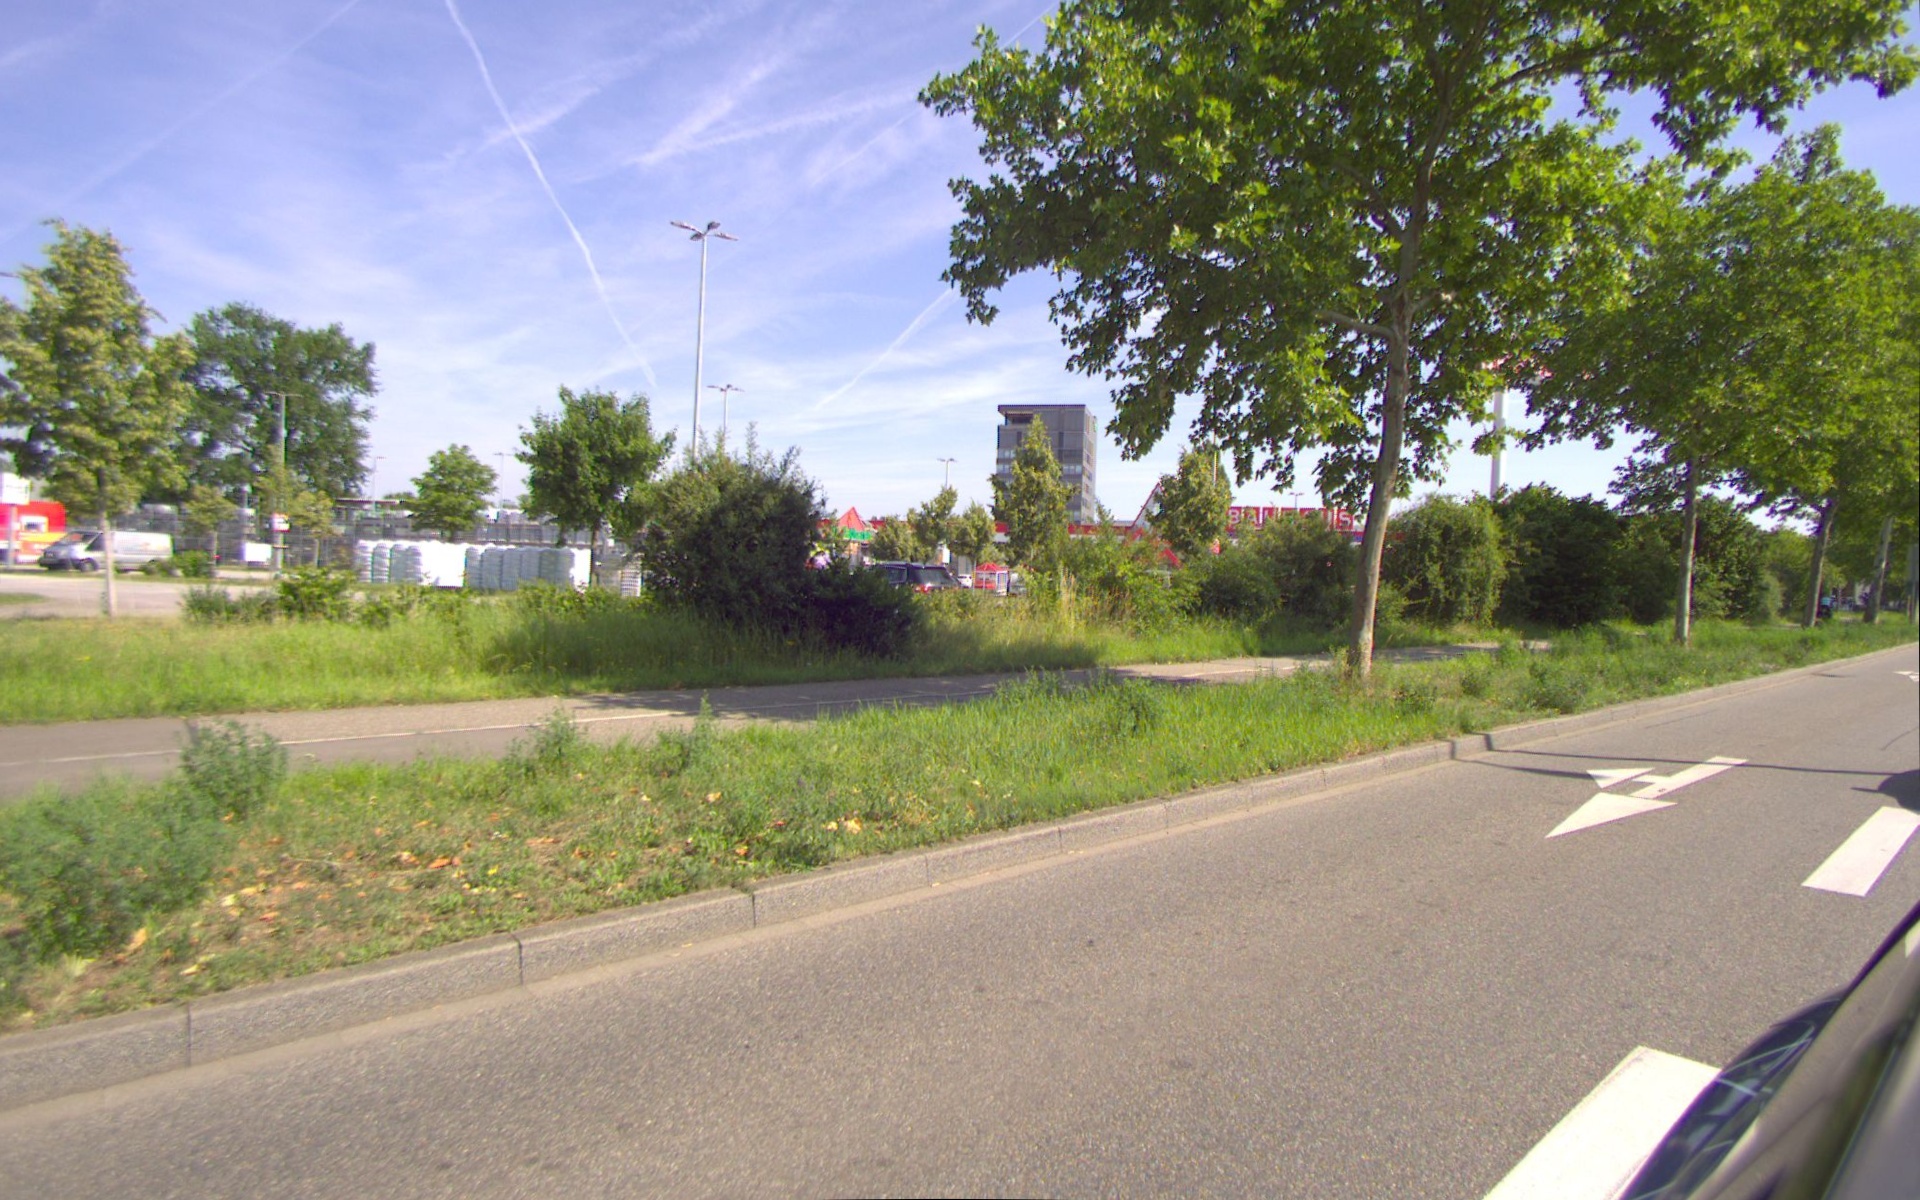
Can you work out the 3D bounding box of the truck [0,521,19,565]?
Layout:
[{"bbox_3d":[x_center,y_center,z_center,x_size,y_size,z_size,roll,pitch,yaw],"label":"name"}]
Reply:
[{"bbox_3d":[-48.911,-2.774,48.200,2.038,2.166,5.837,2,2,16],"label":"truck"}]

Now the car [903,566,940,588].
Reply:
[{"bbox_3d":[-2.780,-1.700,74.171,1.665,1.593,3.985,2,2,13],"label":"car"}]

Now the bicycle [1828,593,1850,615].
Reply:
[{"bbox_3d":[51.897,0.232,59.740,1.900,1.252,0.686,0,2,-41],"label":"bicycle"}]

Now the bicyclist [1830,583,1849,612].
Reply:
[{"bbox_3d":[51.948,-0.147,59.768,0.984,1.651,0.686,0,2,-41],"label":"bicyclist"}]

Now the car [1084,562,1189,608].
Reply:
[{"bbox_3d":[6.720,-0.598,38.599,3.801,1.604,1.844,2,2,11],"label":"car"}]

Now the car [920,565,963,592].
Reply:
[{"bbox_3d":[-1.103,-1.336,61.954,1.665,1.593,3.985,2,2,13],"label":"car"}]

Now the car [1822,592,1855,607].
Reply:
[{"bbox_3d":[128.578,-0.126,148.196,1.974,2.038,4.671,2,2,18],"label":"car"}]

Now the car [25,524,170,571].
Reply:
[{"bbox_3d":[-38.589,-2.309,45.471,1.846,1.838,4.815,3,1,11],"label":"car"}]

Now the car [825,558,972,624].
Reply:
[{"bbox_3d":[-1.717,-0.297,27.358,3.850,1.604,1.821,3,2,43],"label":"car"}]

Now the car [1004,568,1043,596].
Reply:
[{"bbox_3d":[3.834,-1.102,60.305,1.665,1.593,3.985,2,2,13],"label":"car"}]
